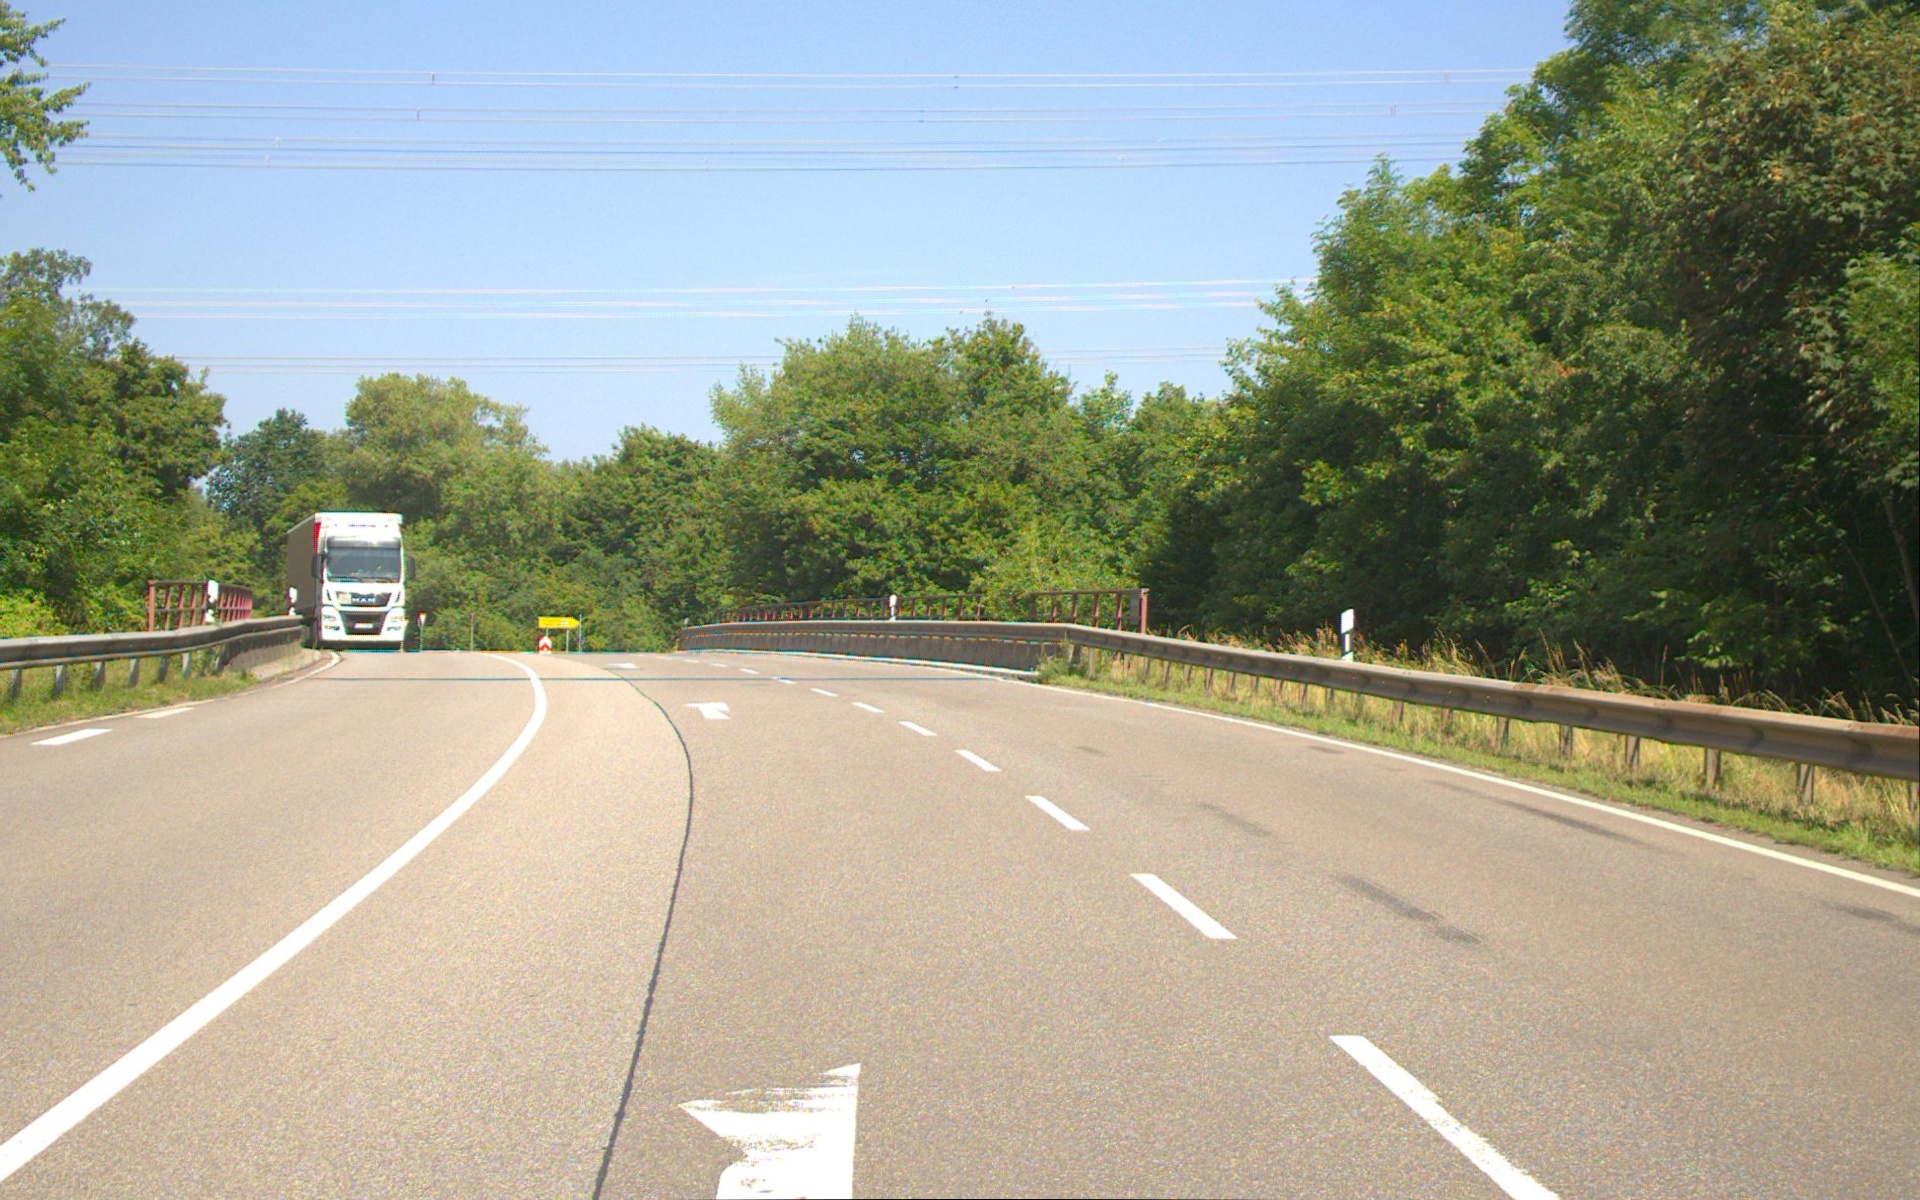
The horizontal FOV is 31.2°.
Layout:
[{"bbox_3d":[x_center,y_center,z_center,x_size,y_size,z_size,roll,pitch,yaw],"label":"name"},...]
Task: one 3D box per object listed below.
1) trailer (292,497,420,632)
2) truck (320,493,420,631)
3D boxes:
[{"bbox_3d":[-19.494,-1.033,110.256,2.767,4.048,14.203,0,0,-15],"label":"trailer"},{"bbox_3d":[-17.776,-1.093,103.410,2.768,4.020,5.857,0,0,-12],"label":"truck"}]
